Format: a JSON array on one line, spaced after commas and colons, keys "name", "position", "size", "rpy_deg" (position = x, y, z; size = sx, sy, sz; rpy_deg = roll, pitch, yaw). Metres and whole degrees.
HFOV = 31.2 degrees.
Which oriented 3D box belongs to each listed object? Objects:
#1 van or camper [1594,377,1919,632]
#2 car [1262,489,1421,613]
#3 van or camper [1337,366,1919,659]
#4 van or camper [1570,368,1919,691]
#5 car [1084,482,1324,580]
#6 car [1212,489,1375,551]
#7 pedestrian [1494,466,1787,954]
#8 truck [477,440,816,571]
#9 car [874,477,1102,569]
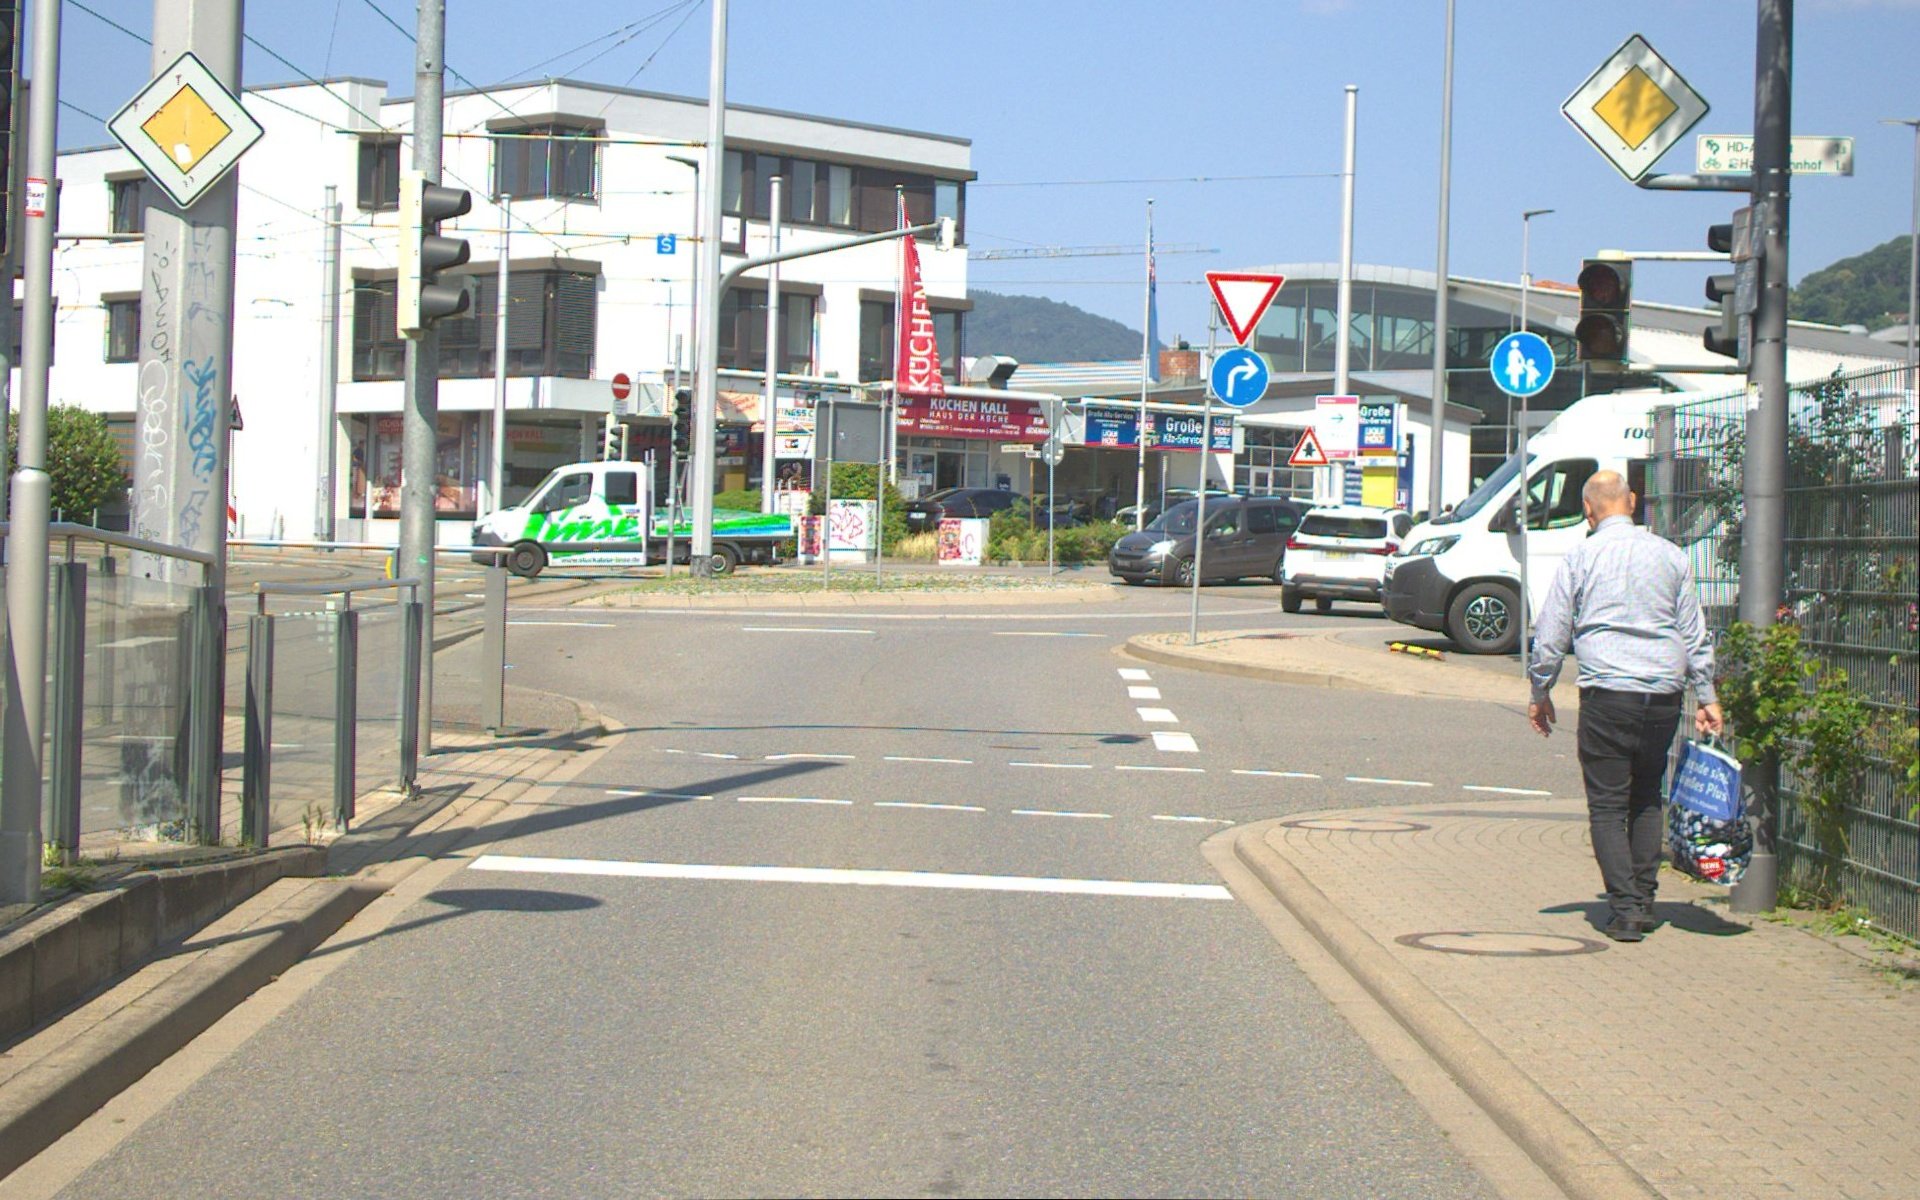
[{"name": "van or camper", "position": [11.308, -1.113, 40.954], "size": [7.061, 2.936, 2.335], "rpy_deg": [0, 1, 0]}, {"name": "car", "position": [5.771, -0.757, 51.527], "size": [1.994, 1.727, 4.562], "rpy_deg": [2, 2, 10]}, {"name": "van or camper", "position": [6.863, -0.909, 35.016], "size": [5.811, 2.764, 2.091], "rpy_deg": [1, 2, 3]}, {"name": "van or camper", "position": [8.656, -0.639, 32.126], "size": [5.507, 2.804, 2.048], "rpy_deg": [3, 3, 4]}, {"name": "car", "position": [4.958, -1.404, 69.745], "size": [4.394, 1.812, 1.990], "rpy_deg": [1, 2, -28]}, {"name": "car", "position": [9.262, -2.197, 95.195], "size": [1.885, 1.583, 4.915], "rpy_deg": [1, 0, 43]}, {"name": "pedestrian", "position": [2.442, 0.374, 12.439], "size": [0.812, 1.693, 0.887], "rpy_deg": [1, 1, -2]}, {"name": "truck", "position": [-6.113, -1.823, 66.697], "size": [6.367, 2.329, 2.210], "rpy_deg": [1, 2, -8]}, {"name": "car", "position": [0.674, -1.750, 78.723], "size": [5.266, 1.959, 1.965], "rpy_deg": [0, 2, -43]}]
